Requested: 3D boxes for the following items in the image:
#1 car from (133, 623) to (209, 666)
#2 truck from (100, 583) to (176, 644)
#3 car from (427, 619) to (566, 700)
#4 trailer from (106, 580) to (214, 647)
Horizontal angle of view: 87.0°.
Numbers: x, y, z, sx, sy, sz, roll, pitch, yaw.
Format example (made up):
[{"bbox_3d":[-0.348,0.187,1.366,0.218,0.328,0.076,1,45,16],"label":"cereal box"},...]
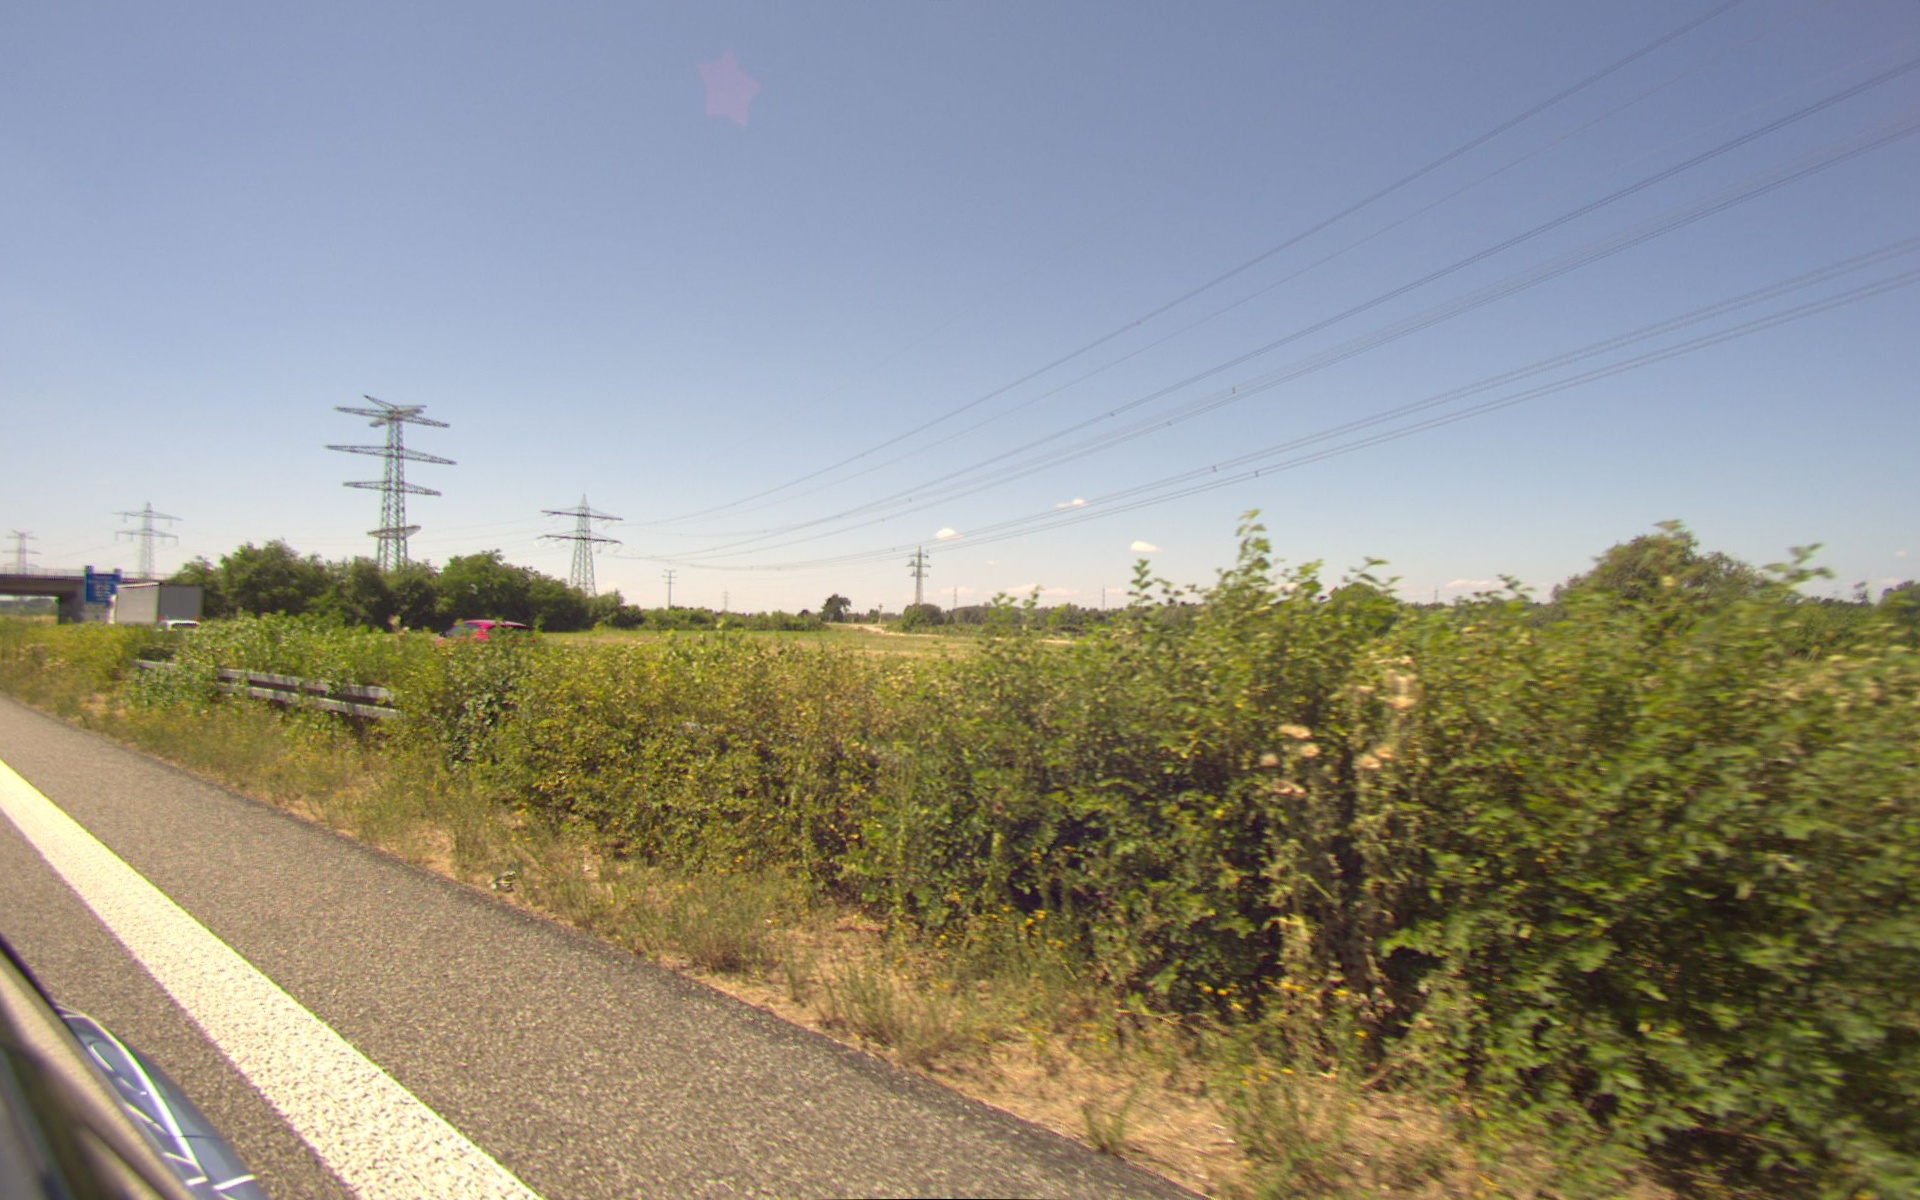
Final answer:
[{"bbox_3d":[-37.597,2.082,48.208,4.723,1.958,1.972,-1,-3,41],"label":"car"},{"bbox_3d":[-63.467,1.111,78.098,6.553,4.442,3.333,-1,-4,41],"label":"truck"},{"bbox_3d":[-13.110,1.586,28.528,4.292,2.029,1.973,-1,0,41],"label":"car"},{"bbox_3d":[-58.564,1.043,73.866,14.311,4.442,3.333,-1,-4,41],"label":"trailer"}]
